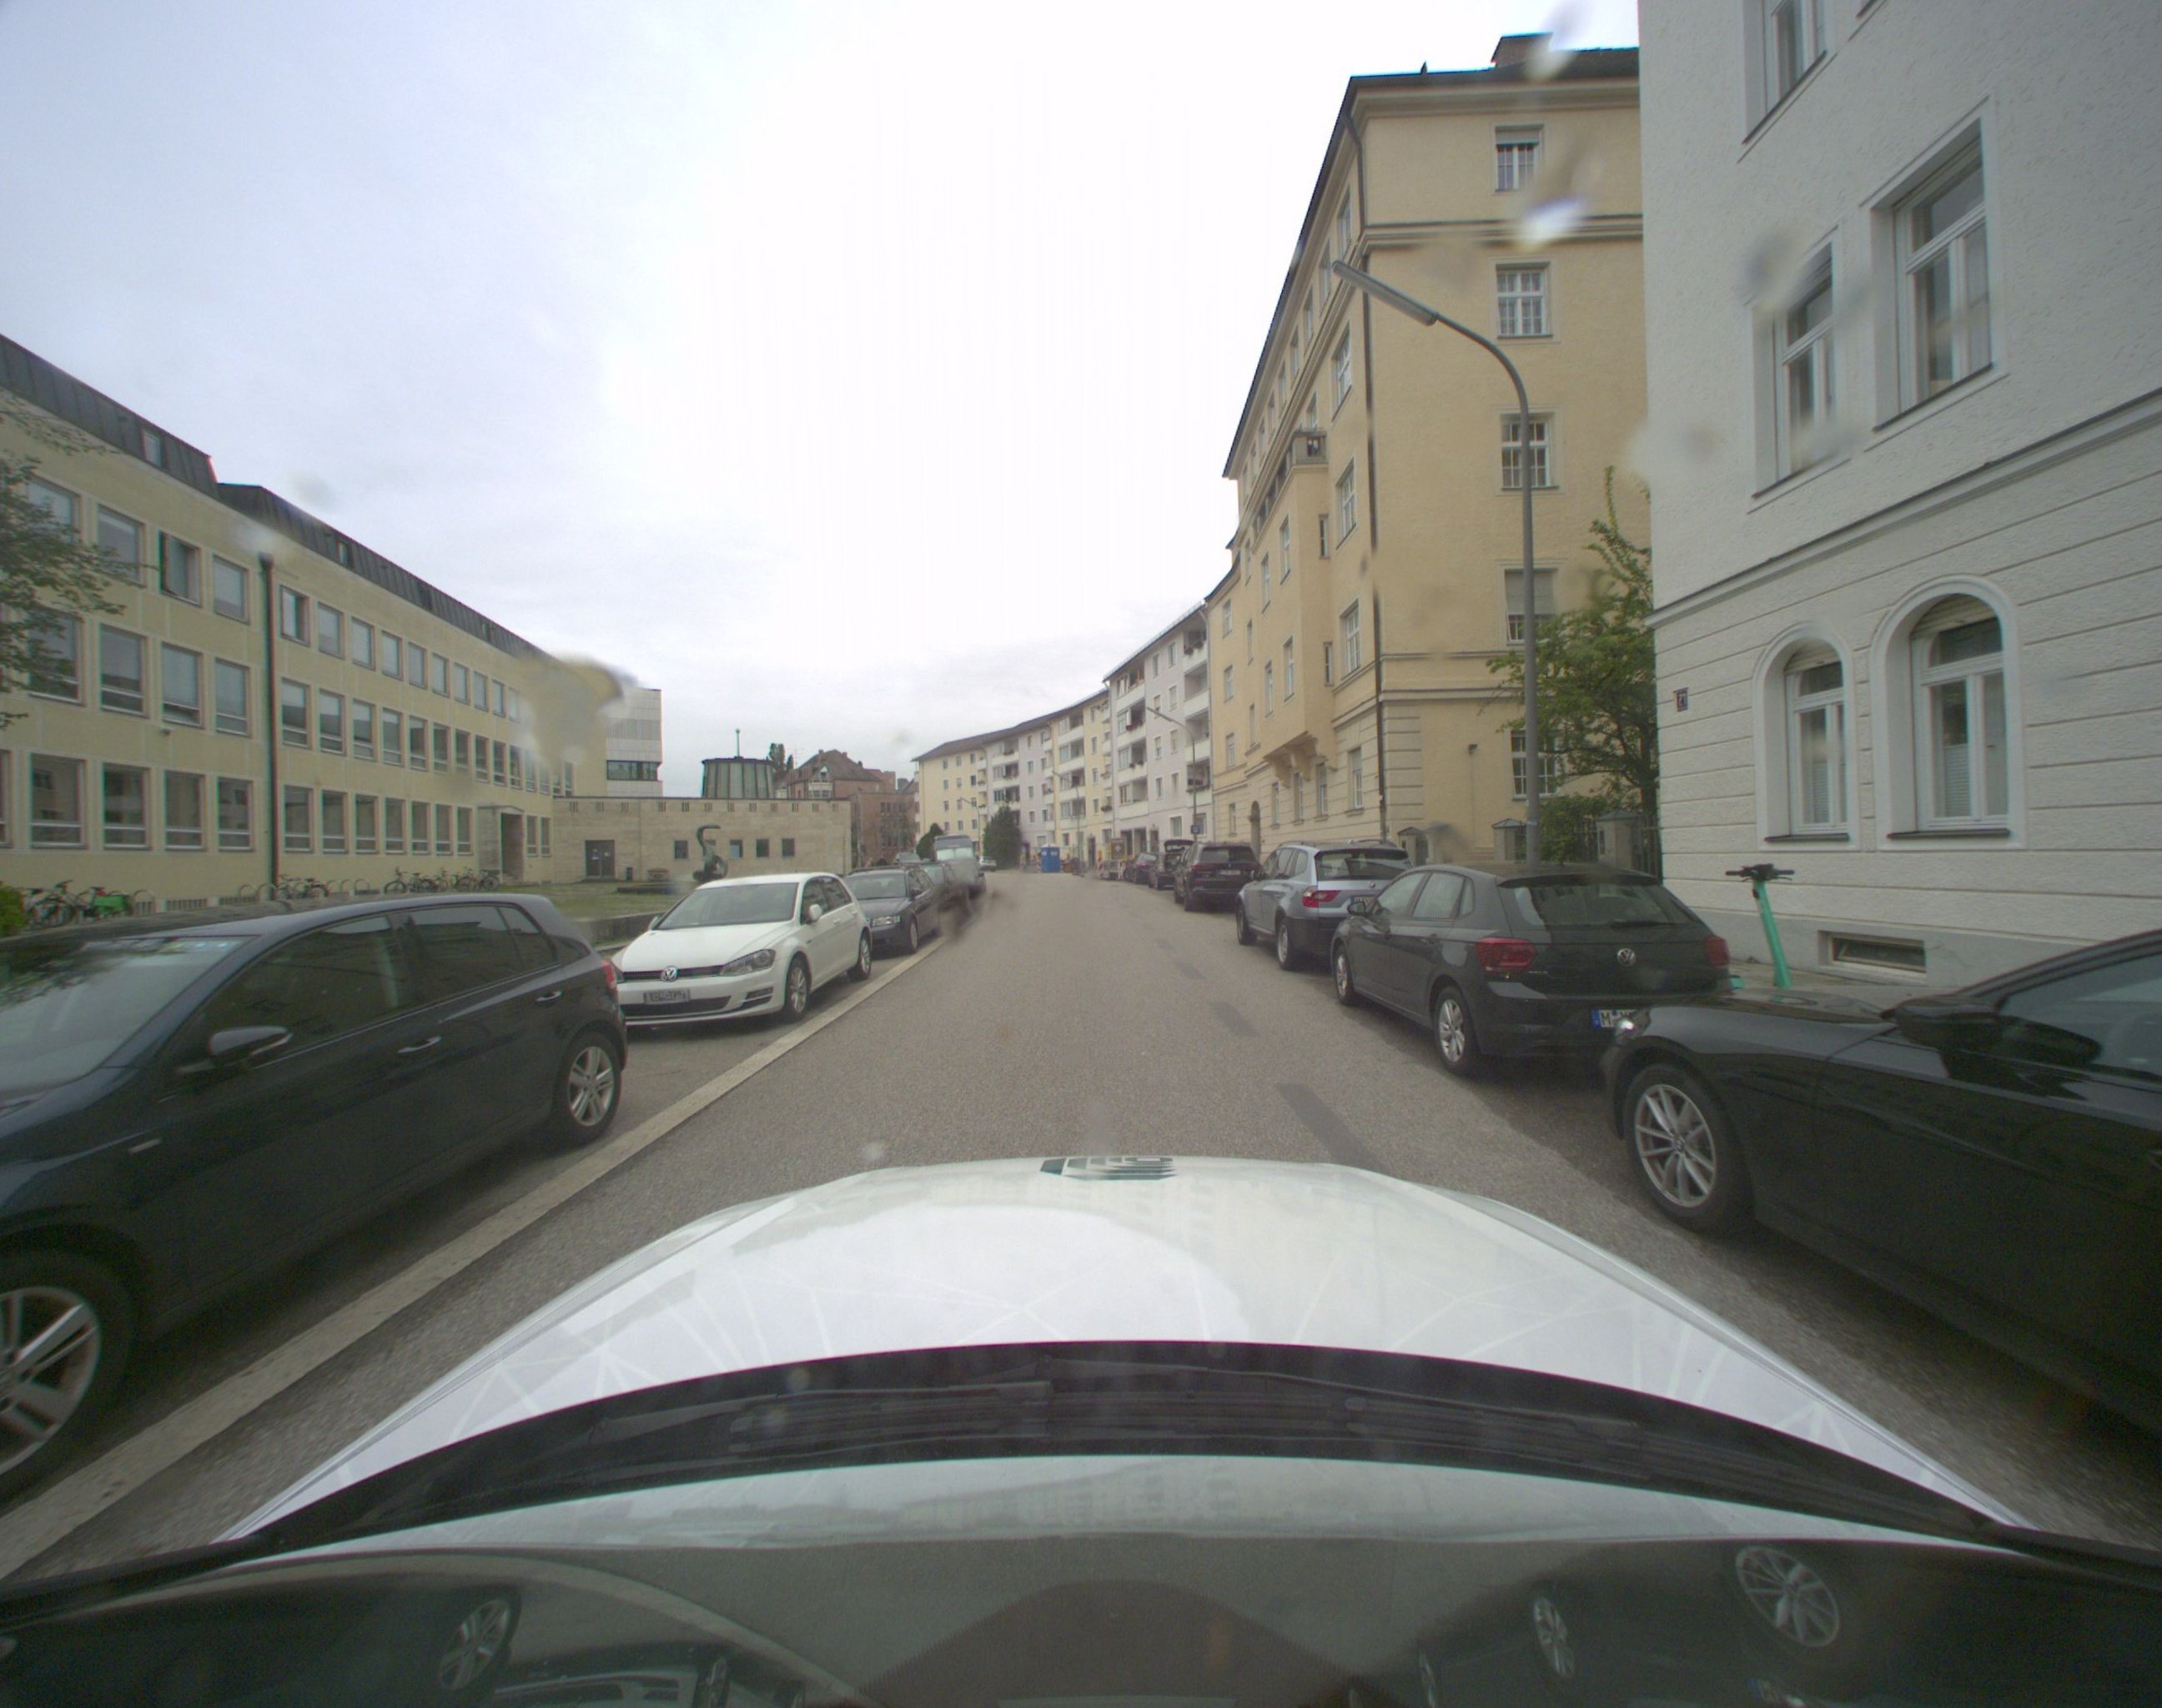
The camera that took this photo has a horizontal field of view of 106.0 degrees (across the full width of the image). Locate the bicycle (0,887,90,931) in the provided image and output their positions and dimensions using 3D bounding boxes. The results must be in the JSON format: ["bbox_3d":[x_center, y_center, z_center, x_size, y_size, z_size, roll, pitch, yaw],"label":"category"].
[{"bbox_3d":[-23.792,1.253,18.640,1.410,0.945,0.412,0,0,-17],"label":"bicycle"}]

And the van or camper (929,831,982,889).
[{"bbox_3d":[-6.183,0.245,39.595,2.298,2.581,6.064,-1,1,-11],"label":"van or camper"}]

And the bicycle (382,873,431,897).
[{"bbox_3d":[-27.454,1.255,33.157,1.474,0.945,0.412,0,0,-16],"label":"bicycle"}]

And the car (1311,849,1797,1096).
[{"bbox_3d":[3.400,0.696,6.903,1.821,1.450,4.085,-1,0,1],"label":"car"}]

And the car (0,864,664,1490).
[{"bbox_3d":[-3.518,0.835,3.242,1.626,1.494,4.099,-1,0,-1],"label":"car"}]

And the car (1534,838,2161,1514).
[{"bbox_3d":[3.256,0.684,1.877,1.869,1.450,4.678,-1,0,1],"label":"car"}]

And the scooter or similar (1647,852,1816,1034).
[{"bbox_3d":[4.800,0.605,6.077,0.425,1.230,1.048,-1,0,1],"label":"scooter or similar"}]

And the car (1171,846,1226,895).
[{"bbox_3d":[3.939,0.511,27.635,1.508,1.554,3.020,-1,0,2],"label":"car"}]

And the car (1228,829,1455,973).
[{"bbox_3d":[3.478,0.545,11.849,1.840,1.663,4.497,-1,0,0],"label":"car"}]

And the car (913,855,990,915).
[{"bbox_3d":[-3.758,0.843,24.372,1.770,1.465,4.460,-4,0,-4],"label":"car"}]

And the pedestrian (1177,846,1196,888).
[{"bbox_3d":[3.964,0.484,30.521,0.626,1.528,0.578,-1,0,0],"label":"pedestrian"}]

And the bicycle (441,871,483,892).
[{"bbox_3d":[-28.178,1.259,37.086,1.474,0.945,0.412,0,0,-16],"label":"bicycle"}]

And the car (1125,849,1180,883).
[{"bbox_3d":[3.308,0.500,38.514,1.904,1.477,4.941,-1,0,-3],"label":"car"}]

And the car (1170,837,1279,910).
[{"bbox_3d":[3.703,0.451,22.030,2.162,1.739,5.025,-1,0,1],"label":"car"}]

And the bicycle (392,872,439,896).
[{"bbox_3d":[-27.729,1.251,33.942,1.474,0.945,0.412,0,0,-16],"label":"bicycle"}]

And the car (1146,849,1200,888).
[{"bbox_3d":[3.580,0.528,32.243,1.626,1.417,3.677,-1,0,-2],"label":"car"}]

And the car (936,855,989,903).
[{"bbox_3d":[-4.073,0.826,28.343,1.516,1.465,2.883,-4,0,-4],"label":"car"}]

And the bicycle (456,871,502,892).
[{"bbox_3d":[-28.420,1.311,38.485,1.710,0.945,0.412,0,0,-16],"label":"bicycle"}]

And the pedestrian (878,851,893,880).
[{"bbox_3d":[-12.960,0.744,54.008,0.847,1.866,0.707,-1,0,-28],"label":"pedestrian"}]

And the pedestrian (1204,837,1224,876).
[{"bbox_3d":[6.008,0.096,36.856,0.615,1.690,0.919,-5,0,1],"label":"pedestrian"}]

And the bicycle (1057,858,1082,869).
[{"bbox_3d":[-1.118,0.923,78.948,2.242,1.069,0.912,-1,0,-23],"label":"bicycle"}]

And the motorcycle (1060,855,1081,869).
[{"bbox_3d":[-0.892,0.708,70.925,0.936,1.221,2.488,-1,0,-23],"label":"motorcycle"}]

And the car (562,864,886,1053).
[{"bbox_3d":[-3.589,0.926,9.168,1.736,1.422,4.292,-4,0,-1],"label":"car"}]

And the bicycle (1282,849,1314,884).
[{"bbox_3d":[7.037,0.381,26.490,0.500,1.049,2.139,-4,0,3],"label":"bicycle"}]

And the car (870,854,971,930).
[{"bbox_3d":[-3.691,0.816,19.259,1.626,1.494,3.602,-4,0,-1],"label":"car"}]

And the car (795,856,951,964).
[{"bbox_3d":[-3.493,0.858,14.492,1.626,1.494,4.273,-4,0,-1],"label":"car"}]

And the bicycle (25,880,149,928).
[{"bbox_3d":[-24.387,1.212,20.015,1.849,1.096,0.699,0,0,-16],"label":"bicycle"}]

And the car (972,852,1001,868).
[{"bbox_3d":[-9.862,0.611,84.672,1.839,1.574,3.968,-1,0,-24],"label":"car"}]

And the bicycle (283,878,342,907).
[{"bbox_3d":[-26.126,1.291,27.696,1.410,0.945,0.412,0,0,-16],"label":"bicycle"}]
